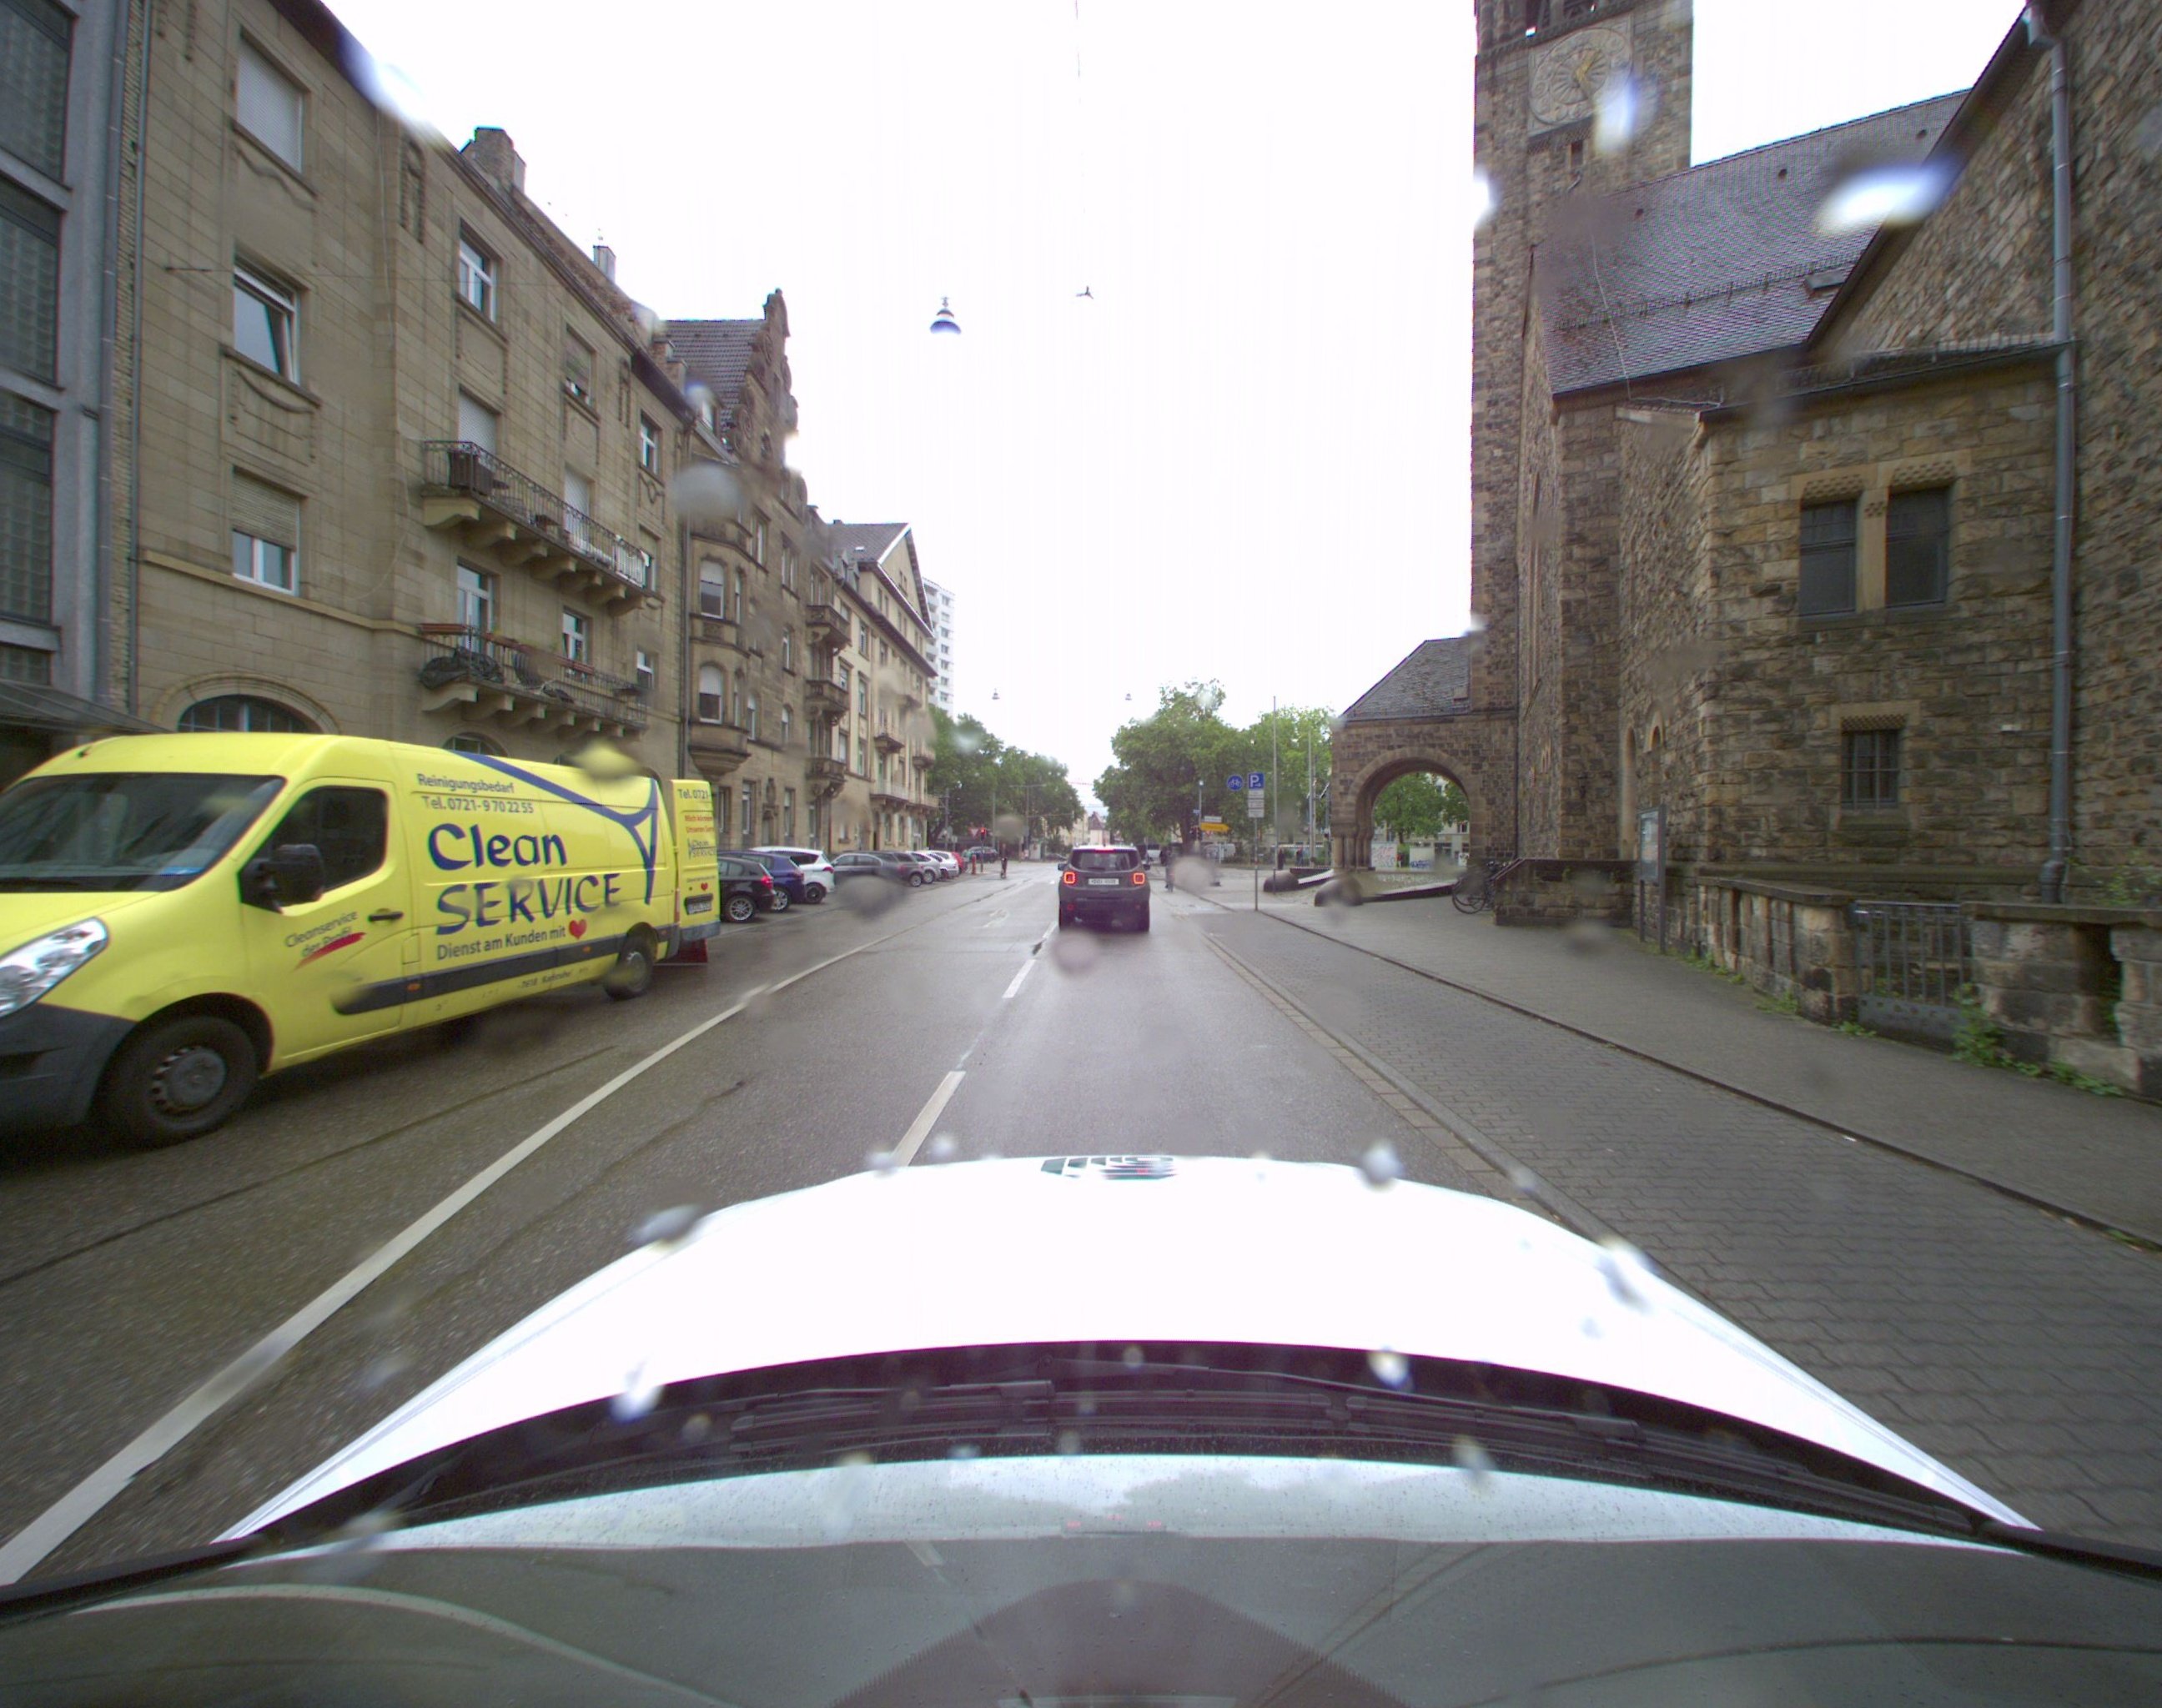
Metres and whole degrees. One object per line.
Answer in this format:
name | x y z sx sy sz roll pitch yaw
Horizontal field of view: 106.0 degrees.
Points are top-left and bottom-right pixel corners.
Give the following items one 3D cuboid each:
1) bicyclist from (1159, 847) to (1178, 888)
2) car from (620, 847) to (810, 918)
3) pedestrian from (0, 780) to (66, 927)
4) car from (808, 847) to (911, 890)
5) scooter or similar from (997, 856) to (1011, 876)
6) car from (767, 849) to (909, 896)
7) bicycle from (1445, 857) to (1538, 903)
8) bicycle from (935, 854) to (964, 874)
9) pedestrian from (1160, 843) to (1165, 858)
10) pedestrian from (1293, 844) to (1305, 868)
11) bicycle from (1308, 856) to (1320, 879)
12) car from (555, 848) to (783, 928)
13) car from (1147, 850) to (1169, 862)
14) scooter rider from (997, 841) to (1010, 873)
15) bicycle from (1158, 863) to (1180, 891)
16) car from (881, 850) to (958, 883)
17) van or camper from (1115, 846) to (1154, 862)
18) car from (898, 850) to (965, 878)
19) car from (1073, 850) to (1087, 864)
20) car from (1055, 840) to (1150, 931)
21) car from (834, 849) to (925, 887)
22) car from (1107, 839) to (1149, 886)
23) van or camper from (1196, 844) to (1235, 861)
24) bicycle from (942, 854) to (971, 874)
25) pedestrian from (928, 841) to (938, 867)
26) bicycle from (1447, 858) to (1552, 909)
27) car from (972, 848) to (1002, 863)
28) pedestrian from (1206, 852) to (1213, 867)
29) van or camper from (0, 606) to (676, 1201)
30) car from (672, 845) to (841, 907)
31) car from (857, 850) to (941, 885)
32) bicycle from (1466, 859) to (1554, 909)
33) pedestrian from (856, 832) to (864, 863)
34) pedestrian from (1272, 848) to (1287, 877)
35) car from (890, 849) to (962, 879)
bicyclist | 3.567 0.543 33.094 0.684 1.617 0.884 -1 0 1
car | -8.836 0.626 19.837 4.052 1.573 1.783 0 0 -27
pedestrian | -13.039 -0.006 10.066 0.514 1.748 0.534 -1 0 30
car | -8.690 0.546 32.017 3.570 1.598 1.588 0 0 -37
scooter or similar | -4.688 0.728 49.549 0.698 1.165 1.385 0 0 0
car | -8.566 0.601 29.008 4.572 1.545 1.669 0 0 -41
bicycle | 10.453 0.666 20.801 1.970 1.105 0.694 -2 -1 13
bicycle | -8.389 0.625 52.004 1.804 1.266 0.498 0 0 1
pedestrian | 11.065 -0.439 110.836 0.646 2.013 0.484 0 0 15
pedestrian | 16.243 0.136 60.614 0.779 1.759 0.950 0 0 17
bicycle | 12.180 0.712 42.677 0.327 1.154 2.080 0 0 8
car | -8.491 0.636 17.045 4.052 1.512 1.783 0 0 -27
car | 13.043 0.327 137.688 3.410 2.014 1.554 -1 -1 16
scooter rider | -4.693 0.174 49.439 0.708 1.935 0.503 0 0 0
bicycle | 3.570 0.918 33.104 0.689 1.021 2.659 -1 0 2
car | -8.161 0.614 41.198 3.418 1.558 1.687 0 0 -37
van or camper | 9.436 -0.023 144.075 6.465 2.912 2.510 0 0 29
car | -8.608 0.550 47.014 3.418 1.558 1.687 0 0 -37
car | -0.129 0.330 103.344 1.716 1.739 3.728 0 0 -1
car | 0.461 0.589 17.127 1.768 1.687 3.850 -1 0 2
car | -8.618 0.588 34.926 3.418 1.558 1.634 0 0 -37
car | 2.103 0.373 37.010 1.763 2.013 4.002 0 0 2
van or camper | 18.603 -0.213 112.584 5.232 2.315 2.093 1 0 6
bicycle | -8.234 0.650 53.857 1.757 1.266 0.608 0 0 1
pedestrian | -11.625 -0.005 63.953 0.565 2.013 0.655 0 0 2
bicycle | 9.153 0.646 17.878 1.969 1.054 0.515 -2 -1 16
car | -10.490 0.173 90.701 2.958 1.706 1.320 -1 0 18
pedestrian | 13.824 0.547 87.735 0.607 1.603 0.497 0 0 27
van or camper | -5.836 0.215 6.521 2.189 2.611 5.941 -1 0 0
car | -8.978 0.556 22.690 4.063 1.555 1.778 0 0 -38
car | -8.446 0.597 37.926 3.418 1.558 1.687 0 0 -37
bicycle | 9.876 0.686 18.793 1.695 1.111 0.564 -2 -1 16
pedestrian | -13.115 -0.392 48.359 0.365 1.823 0.347 0 -1 0
pedestrian | 11.437 0.499 47.040 0.778 1.645 0.656 0 0 8
car | -8.388 0.534 44.078 3.418 1.558 1.687 0 0 -37
